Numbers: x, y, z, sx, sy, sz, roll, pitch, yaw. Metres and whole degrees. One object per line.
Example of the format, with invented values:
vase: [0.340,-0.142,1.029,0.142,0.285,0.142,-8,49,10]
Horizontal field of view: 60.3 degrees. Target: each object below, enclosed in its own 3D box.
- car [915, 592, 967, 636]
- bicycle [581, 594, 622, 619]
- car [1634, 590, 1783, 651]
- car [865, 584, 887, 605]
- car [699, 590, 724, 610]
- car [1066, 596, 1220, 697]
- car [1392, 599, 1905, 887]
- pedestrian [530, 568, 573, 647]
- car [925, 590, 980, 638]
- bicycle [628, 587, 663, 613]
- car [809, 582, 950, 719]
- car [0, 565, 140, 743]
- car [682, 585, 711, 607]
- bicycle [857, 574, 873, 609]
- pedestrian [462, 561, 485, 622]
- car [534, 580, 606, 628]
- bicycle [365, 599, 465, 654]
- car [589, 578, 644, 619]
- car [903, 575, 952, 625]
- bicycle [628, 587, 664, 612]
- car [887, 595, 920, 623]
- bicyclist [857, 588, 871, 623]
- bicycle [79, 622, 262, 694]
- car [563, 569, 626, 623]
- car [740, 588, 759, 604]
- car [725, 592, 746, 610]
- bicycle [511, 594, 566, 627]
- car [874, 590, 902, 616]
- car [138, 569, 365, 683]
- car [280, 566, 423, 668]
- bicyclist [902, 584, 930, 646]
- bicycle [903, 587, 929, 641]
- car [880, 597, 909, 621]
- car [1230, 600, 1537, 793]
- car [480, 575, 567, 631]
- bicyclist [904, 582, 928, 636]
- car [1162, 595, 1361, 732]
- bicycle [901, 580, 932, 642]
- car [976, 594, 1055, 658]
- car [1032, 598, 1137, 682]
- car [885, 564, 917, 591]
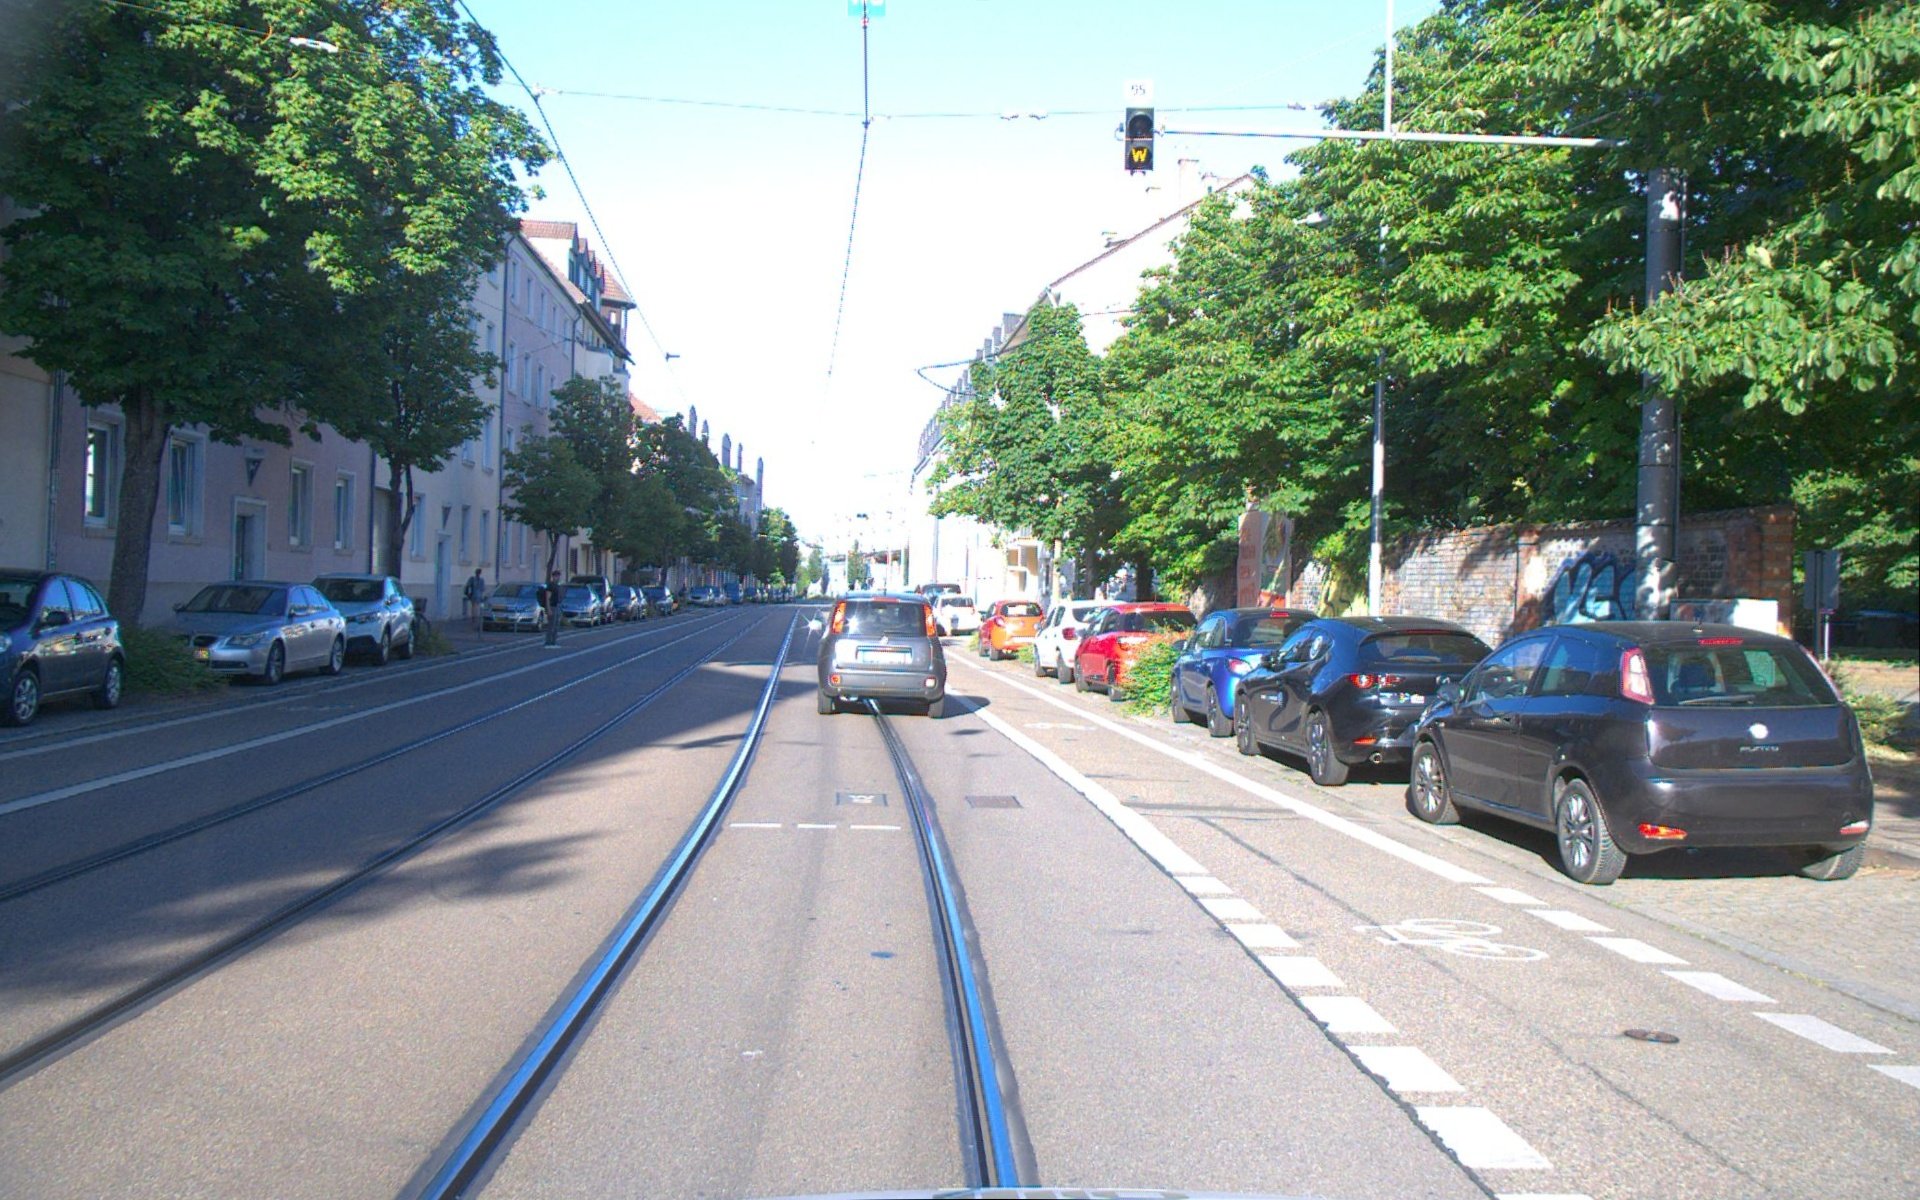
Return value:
car: [-0.785,0.510,64.893,1.624,1.598,3.871,3,0,-6]
bicycle: [-14.717,0.269,67.900,1.602,0.953,0.516,3,0,-10]
car: [24.389,0.654,53.949,3.908,1.802,1.999,3,0,-4]
car: [-6.858,-0.468,135.455,1.552,1.627,3.372,3,0,-6]
car: [-20.361,0.020,135.699,1.673,1.523,3.718,3,0,-4]
car: [2.966,0.715,27.591,1.657,1.557,3.993,0,0,-8]
car: [4.299,0.781,11.059,1.655,1.557,3.998,0,0,-2]
pedestrian: [-9.457,0.166,38.244,0.838,1.808,0.729,0,1,-25]
car: [-0.303,0.489,60.232,1.624,1.598,3.495,3,0,-6]
bicycle: [-15.990,-0.011,84.199,1.697,1.217,0.372,3,0,-9]
car: [-1.004,0.591,21.887,1.617,1.568,4.233,3,0,-1]
car: [-10.003,0.469,17.206,1.562,1.642,3.723,3,0,-10]
car: [-19.302,-0.301,121.286,1.673,1.523,3.718,3,0,-4]
bicycle: [-5.593,-0.499,97.505,0.727,2.049,2.808,3,0,-6]
pedestrian: [-15.026,-0.253,51.095,0.526,1.858,0.542,3,0,-6]
car: [-13.684,0.133,58.244,1.773,1.534,4.675,3,0,-5]
bicycle: [-11.356,0.549,34.488,1.887,1.064,0.476,3,0,-5]
car: [-14.786,-0.064,71.346,1.773,1.648,4.060,3,0,-5]
car: [-1.411,-0.022,70.345,1.624,1.978,4.659,3,0,-6]
bicycle: [-15.902,-0.033,83.803,1.697,1.217,0.372,3,0,-9]
car: [-3.119,0.491,90.935,1.552,1.430,3.372,-2,1,-6]
bicyclist: [-5.662,0.333,97.622,0.701,2.049,0.830,3,0,-6]
bicycle: [-10.342,0.760,21.704,2.086,0.839,0.476,3,0,-6]
car: [-14.228,-0.170,64.566,1.773,1.977,4.329,3,0,-5]
car: [-21.029,-0.413,165.508,1.673,1.523,3.718,3,0,-4]
car: [-20.323,0.100,149.869,1.673,1.523,3.718,3,0,-4]
bicycle: [-13.696,0.341,53.776,1.633,1.019,0.476,3,0,-3]
car: [-4.785,0.216,109.682,1.552,1.627,3.372,3,0,-6]
car: [-10.566,0.348,25.041,1.655,1.501,4.656,3,0,-4]
car: [-11.167,0.277,30.600,1.621,1.697,4.287,3,0,-9]
bicyclist: [-1.290,0.436,48.744,0.686,1.789,0.756,3,0,-6]
bicycle: [-1.506,0.458,56.580,0.662,1.777,2.155,3,0,-6]
car: [-4.120,0.566,103.869,1.552,1.430,3.372,3,0,-6]
car: [3.812,0.785,15.660,1.655,1.557,4.353,0,0,-2]
car: [-12.974,0.077,49.395,1.773,1.534,4.186,3,0,-5]
bicyclist: [-1.501,0.306,56.587,0.686,1.789,0.756,3,0,-6]
car: [3.686,0.724,20.879,1.655,1.557,3.998,0,0,-2]
bicycle: [-1.293,0.307,49.024,0.662,1.777,2.155,3,0,-6]
car: [1.393,0.635,42.478,1.603,1.534,3.393,-1,0,-5]
car: [2.419,0.747,32.909,1.655,1.557,3.998,0,0,-2]
car: [-3.449,-1.303,96.511,1.552,1.430,3.372,3,0,-6]
